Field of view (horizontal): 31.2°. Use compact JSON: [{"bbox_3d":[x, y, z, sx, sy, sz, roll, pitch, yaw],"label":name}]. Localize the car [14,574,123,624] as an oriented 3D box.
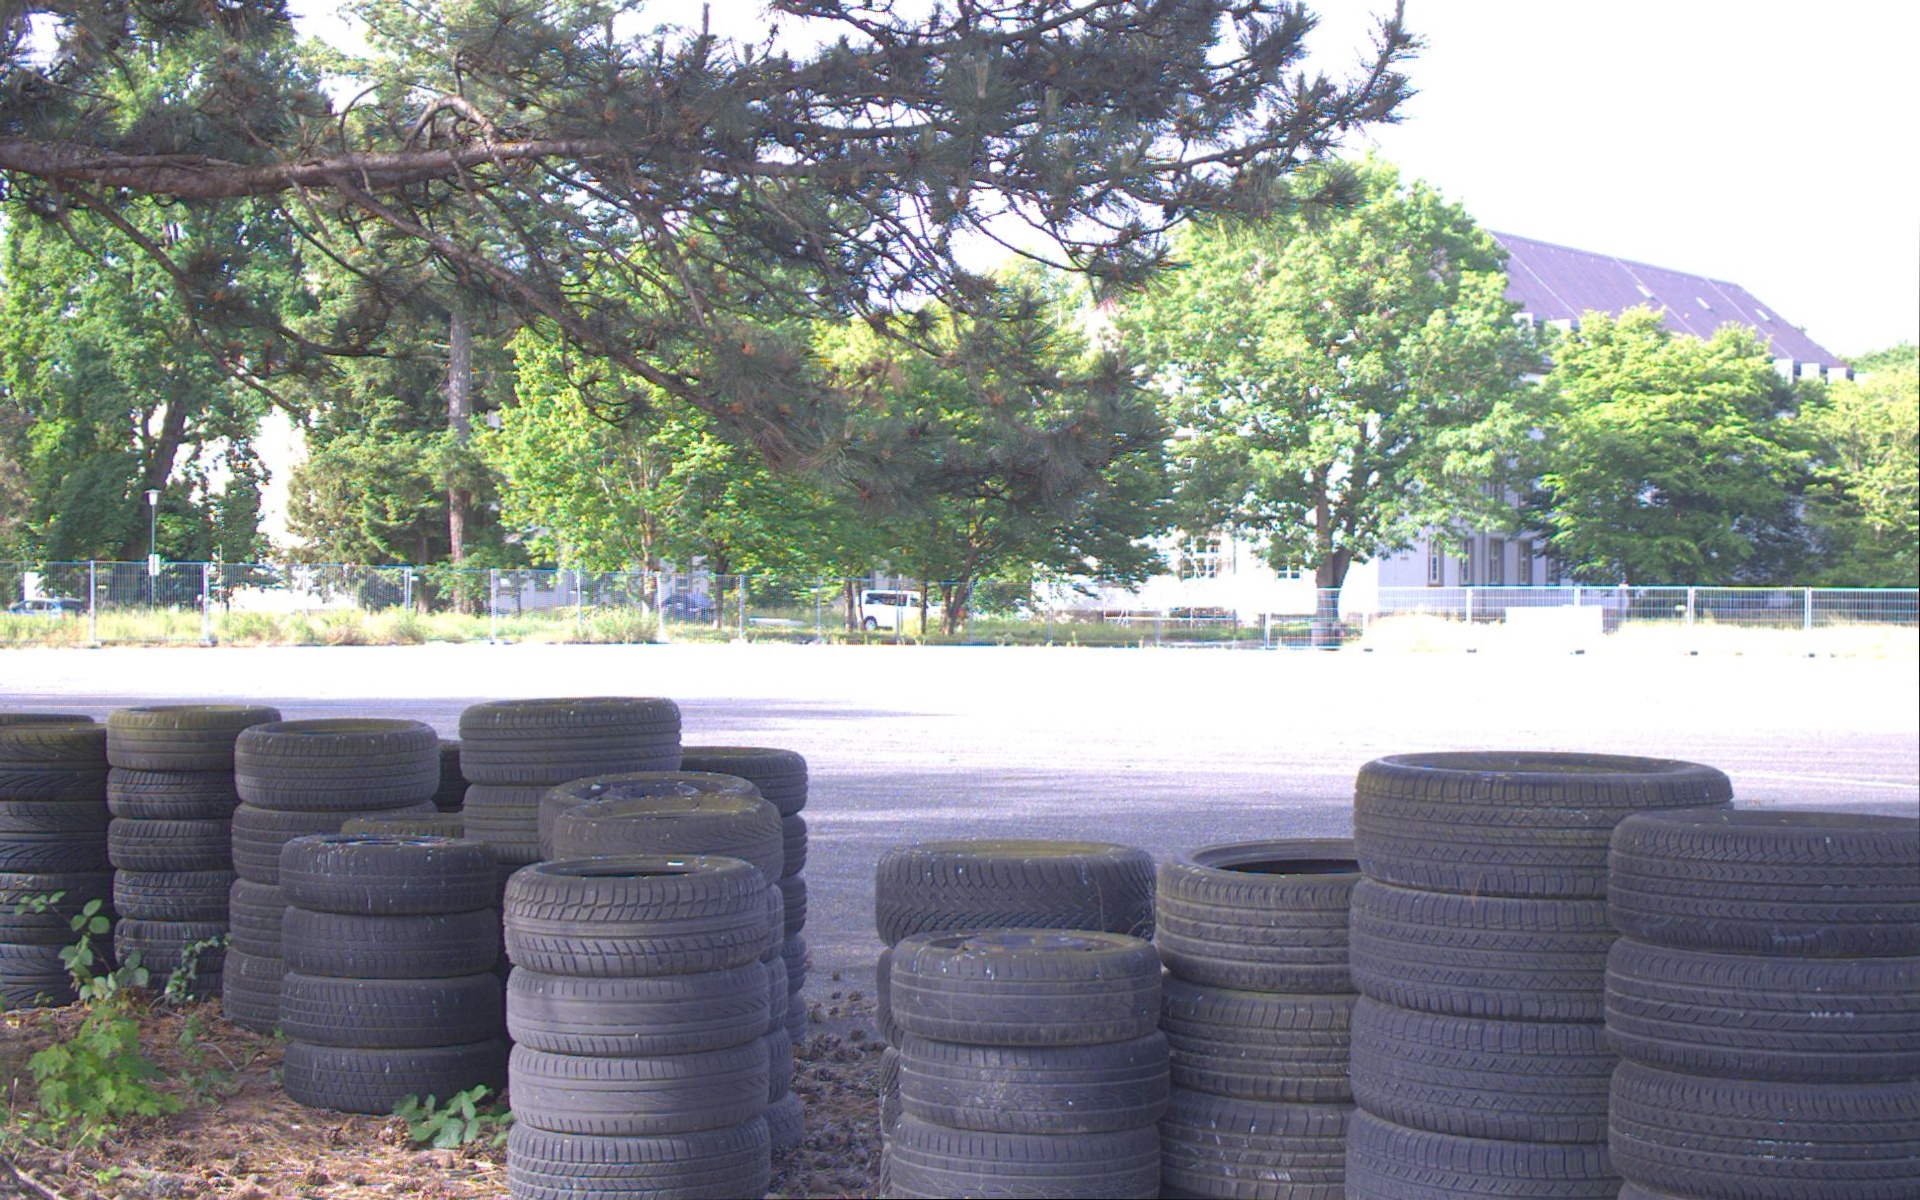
[{"bbox_3d":[-31.915,-0.053,123.017,3.997,1.744,1.995,1,0,44],"label":"car"}]
